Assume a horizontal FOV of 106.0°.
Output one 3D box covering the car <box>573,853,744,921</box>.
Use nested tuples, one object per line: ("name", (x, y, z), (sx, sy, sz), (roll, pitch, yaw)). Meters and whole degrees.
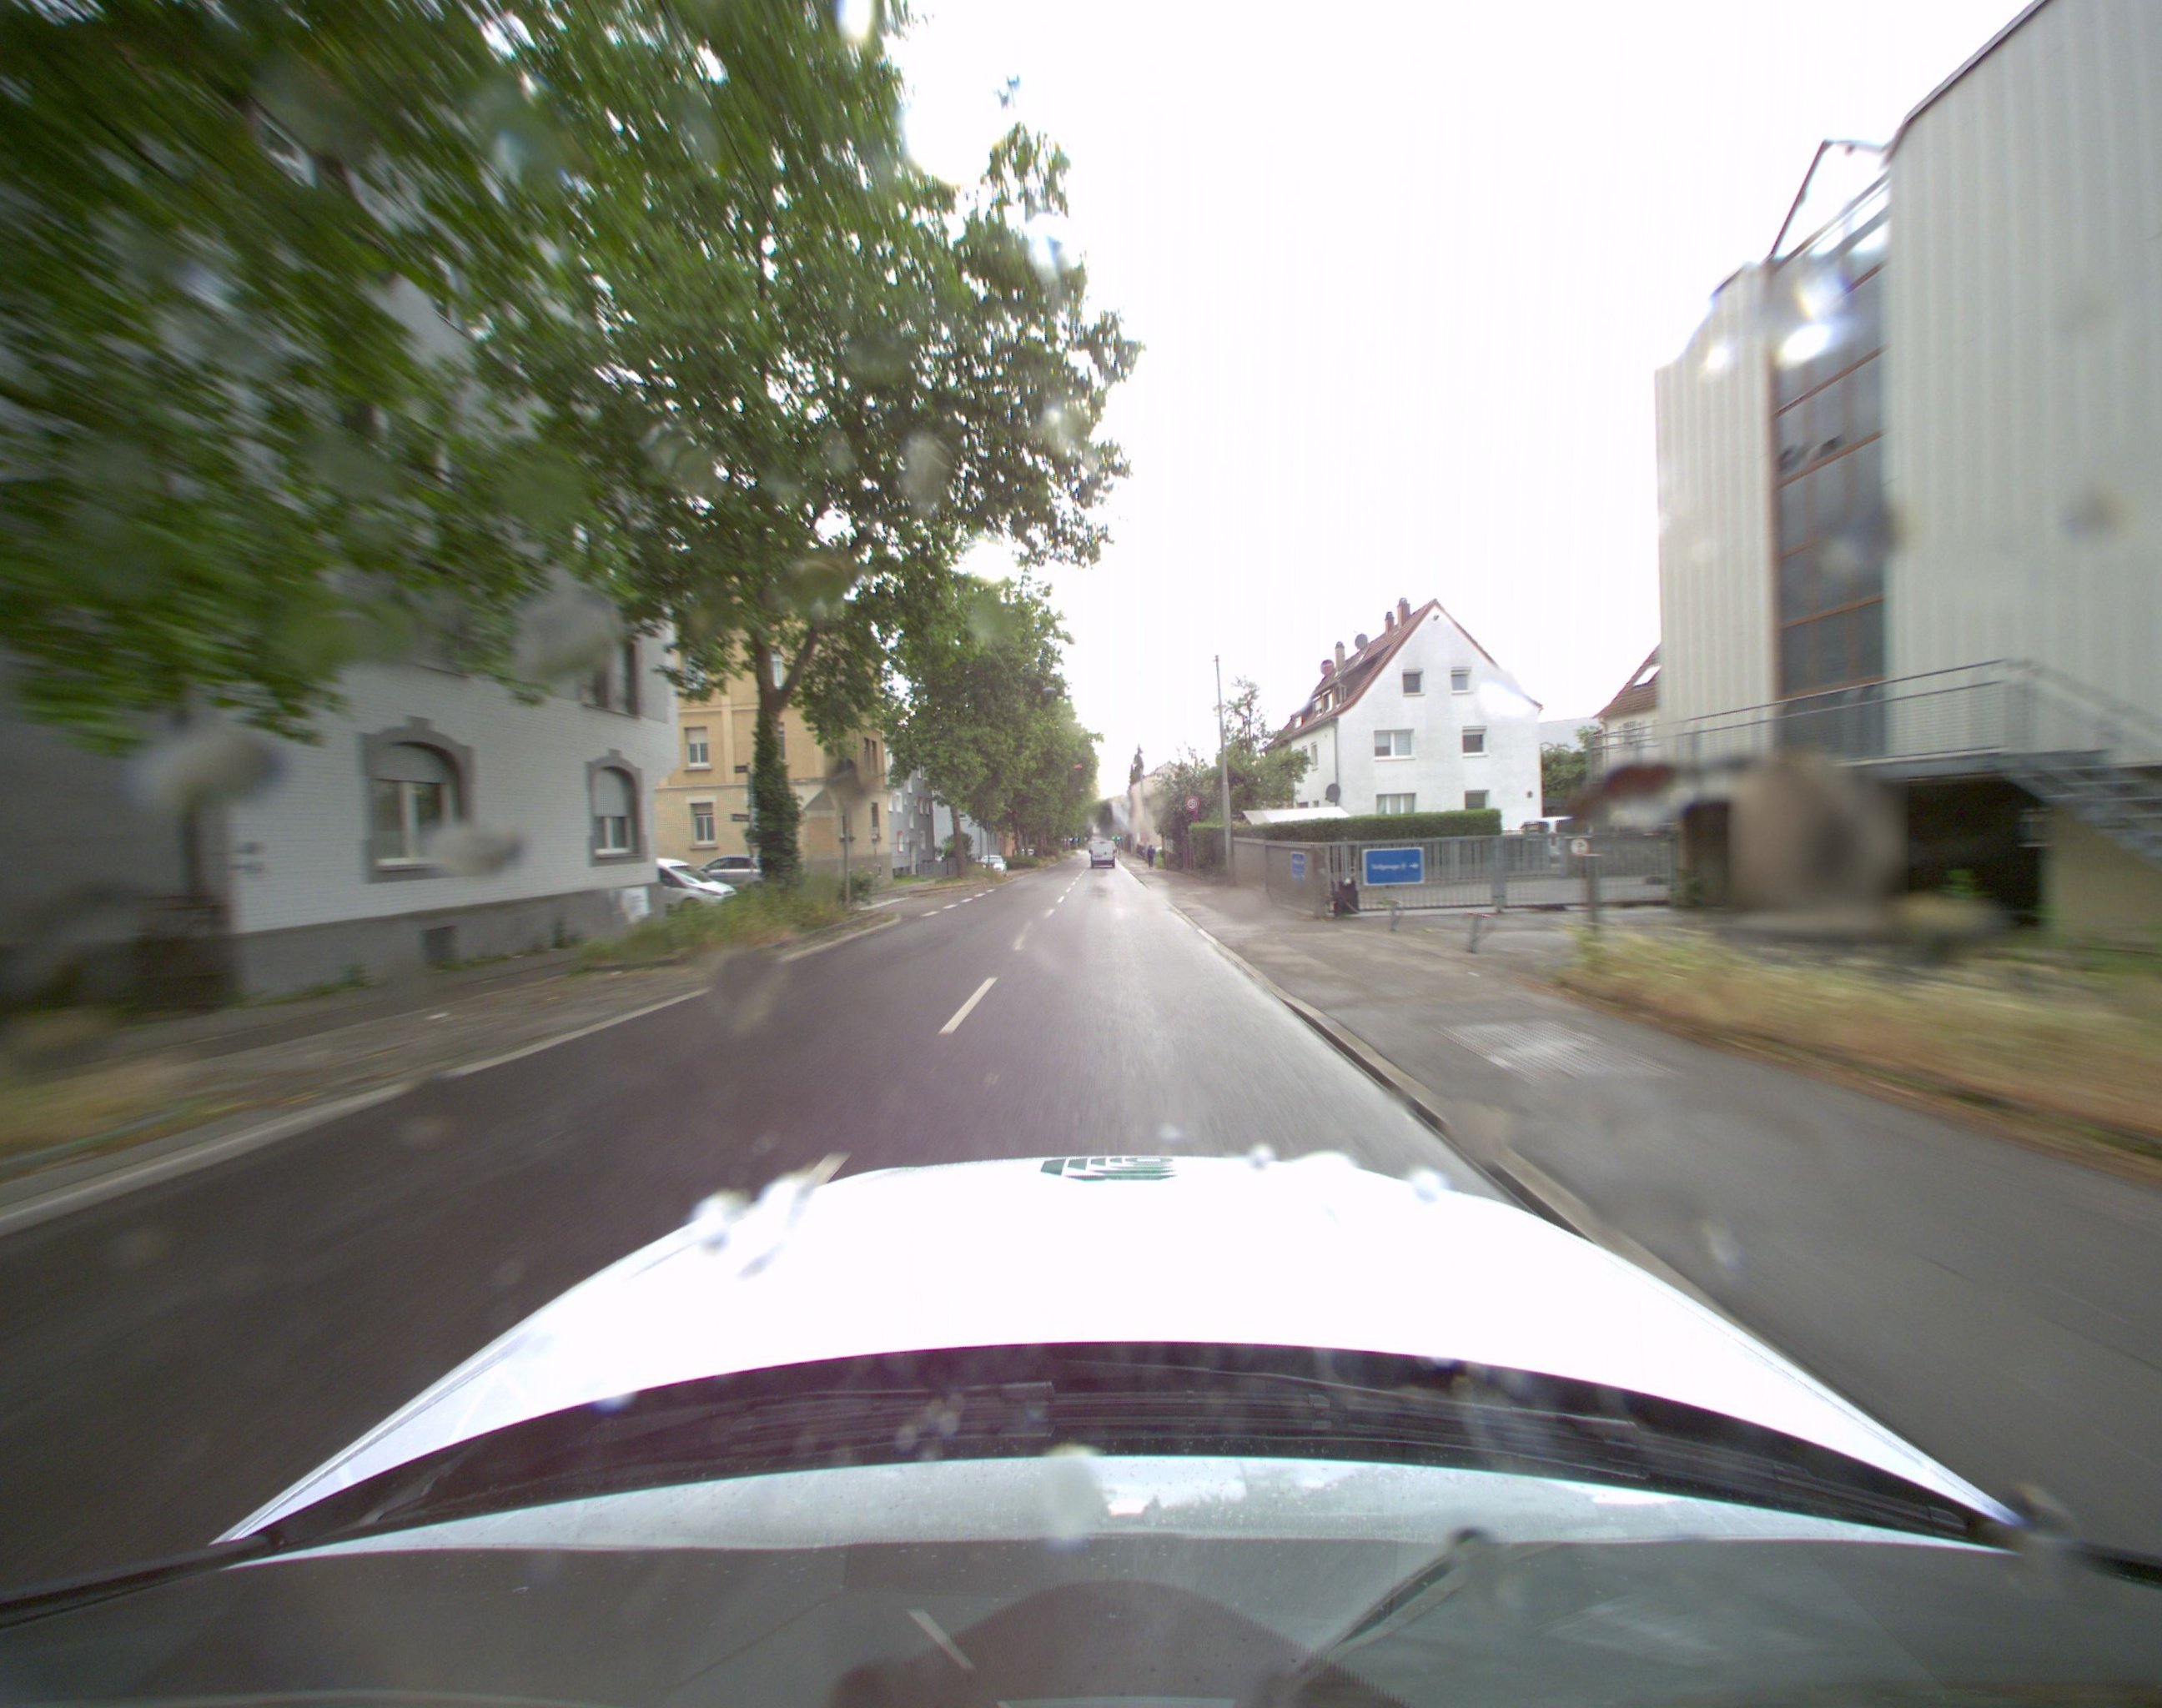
("car", (-13.053, 0.988, 25.337), (4.182, 1.892, 2.000), (-2, 0, 0))

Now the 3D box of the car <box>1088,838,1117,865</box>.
("car", (1.792, -0.247, 69.417), (2.339, 2.160, 4.777), (-2, 2, 0))

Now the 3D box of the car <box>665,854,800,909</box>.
("car", (-13.214, 1.005, 31.070), (4.182, 1.892, 2.000), (-2, 0, 0))

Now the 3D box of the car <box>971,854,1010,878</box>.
("car", (-5.842, 0.748, 53.008), (1.987, 1.452, 4.209), (-2, 0, 0))

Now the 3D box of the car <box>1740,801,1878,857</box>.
("car", (28.577, -0.916, 32.151), (1.855, 2.013, 4.001), (-2, 0, 1))

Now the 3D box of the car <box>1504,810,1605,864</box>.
("car", (19.332, -0.654, 33.452), (1.831, 2.013, 4.001), (-2, 0, 1))

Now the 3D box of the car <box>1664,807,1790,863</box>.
("car", (25.623, -0.715, 32.511), (1.855, 2.013, 4.001), (-2, 0, 1))

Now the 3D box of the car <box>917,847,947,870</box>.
("car", (-13.780, 0.374, 75.353), (1.868, 1.894, 4.002), (-2, 1, 1))

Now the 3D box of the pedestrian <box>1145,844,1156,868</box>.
("pedestrian", (5.104, 0.137, 59.888), (0.812, 1.698, 0.730), (-2, -1, 3))
